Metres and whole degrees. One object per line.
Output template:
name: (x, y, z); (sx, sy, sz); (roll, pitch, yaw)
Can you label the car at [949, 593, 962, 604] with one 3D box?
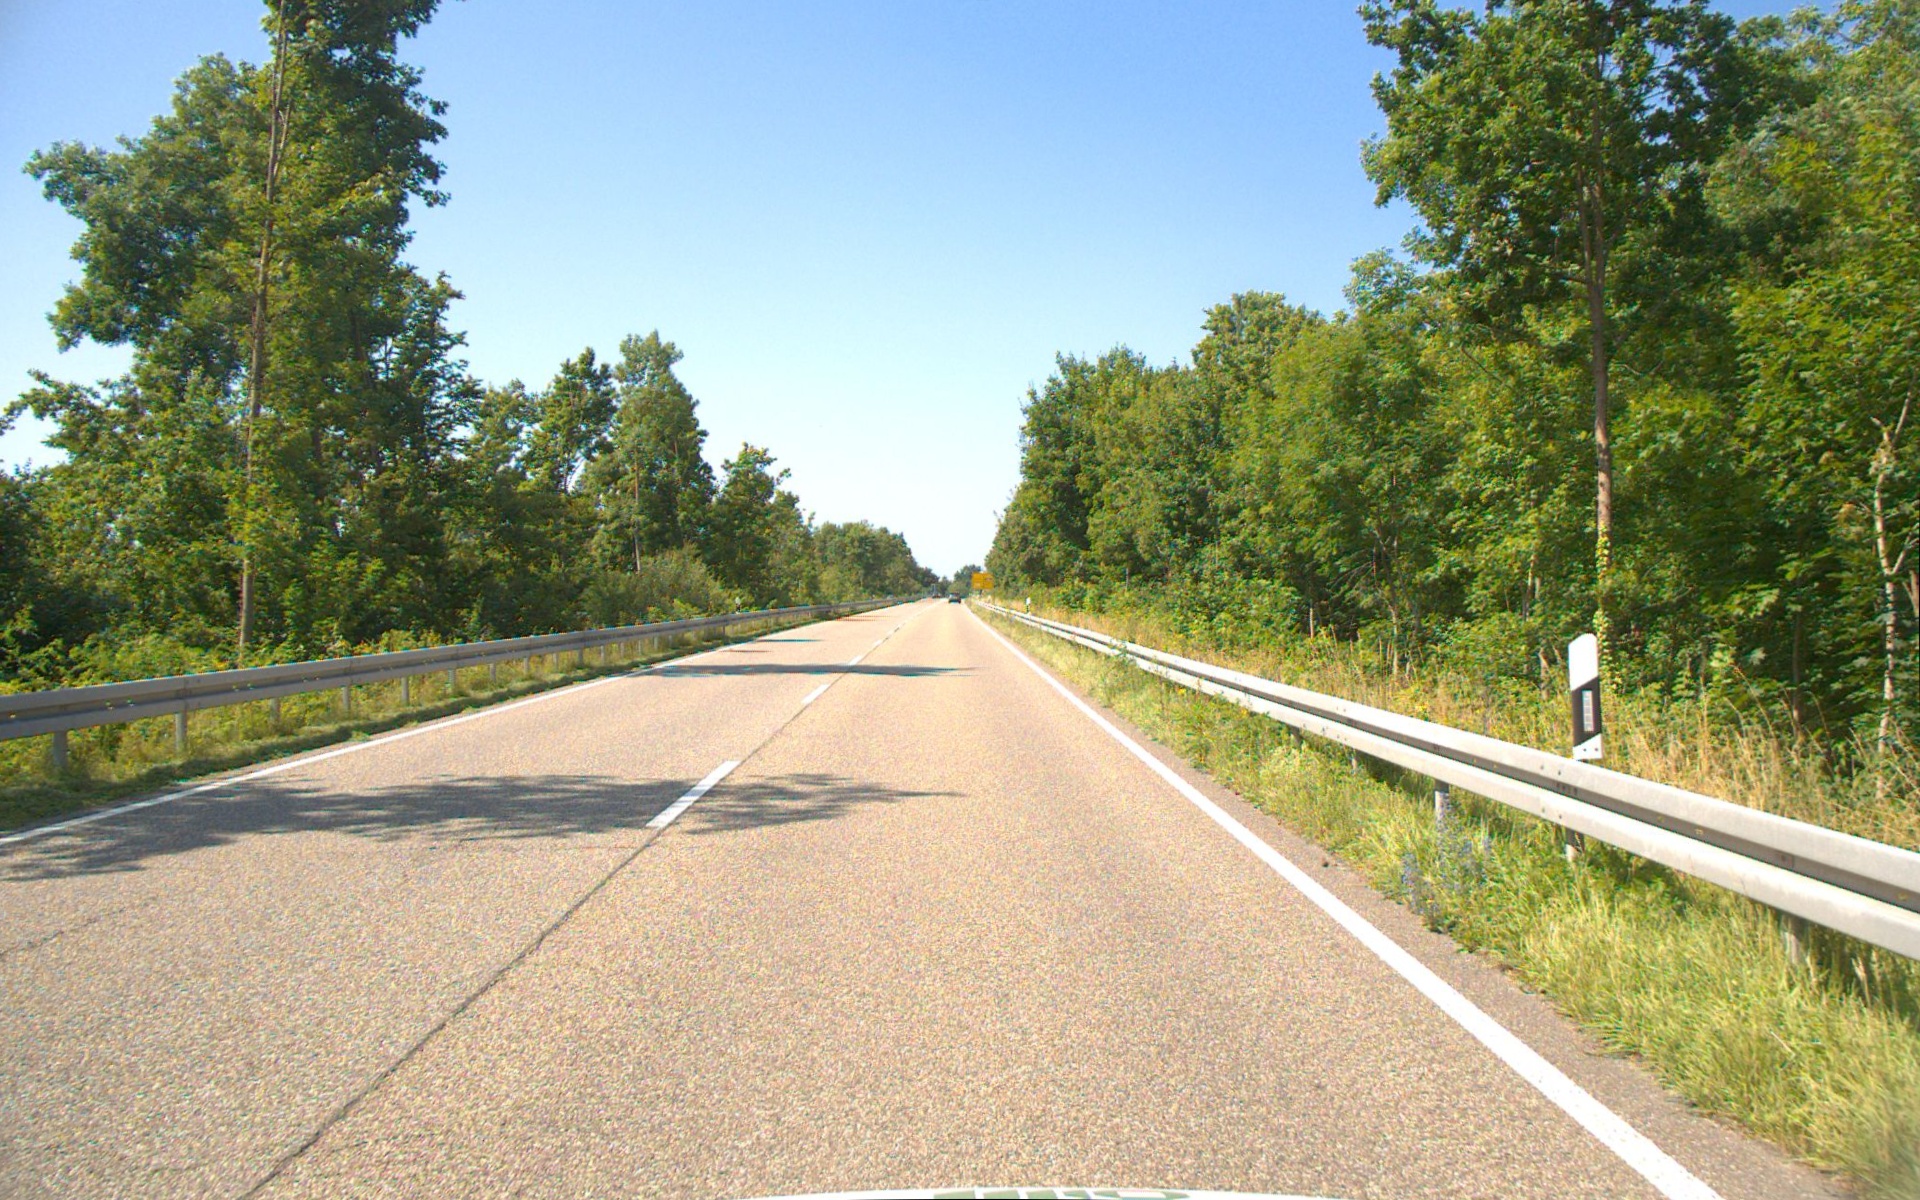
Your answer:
car: (-0.627, -0.234, 227.845); (1.705, 1.496, 3.693); (0, 0, 1)
